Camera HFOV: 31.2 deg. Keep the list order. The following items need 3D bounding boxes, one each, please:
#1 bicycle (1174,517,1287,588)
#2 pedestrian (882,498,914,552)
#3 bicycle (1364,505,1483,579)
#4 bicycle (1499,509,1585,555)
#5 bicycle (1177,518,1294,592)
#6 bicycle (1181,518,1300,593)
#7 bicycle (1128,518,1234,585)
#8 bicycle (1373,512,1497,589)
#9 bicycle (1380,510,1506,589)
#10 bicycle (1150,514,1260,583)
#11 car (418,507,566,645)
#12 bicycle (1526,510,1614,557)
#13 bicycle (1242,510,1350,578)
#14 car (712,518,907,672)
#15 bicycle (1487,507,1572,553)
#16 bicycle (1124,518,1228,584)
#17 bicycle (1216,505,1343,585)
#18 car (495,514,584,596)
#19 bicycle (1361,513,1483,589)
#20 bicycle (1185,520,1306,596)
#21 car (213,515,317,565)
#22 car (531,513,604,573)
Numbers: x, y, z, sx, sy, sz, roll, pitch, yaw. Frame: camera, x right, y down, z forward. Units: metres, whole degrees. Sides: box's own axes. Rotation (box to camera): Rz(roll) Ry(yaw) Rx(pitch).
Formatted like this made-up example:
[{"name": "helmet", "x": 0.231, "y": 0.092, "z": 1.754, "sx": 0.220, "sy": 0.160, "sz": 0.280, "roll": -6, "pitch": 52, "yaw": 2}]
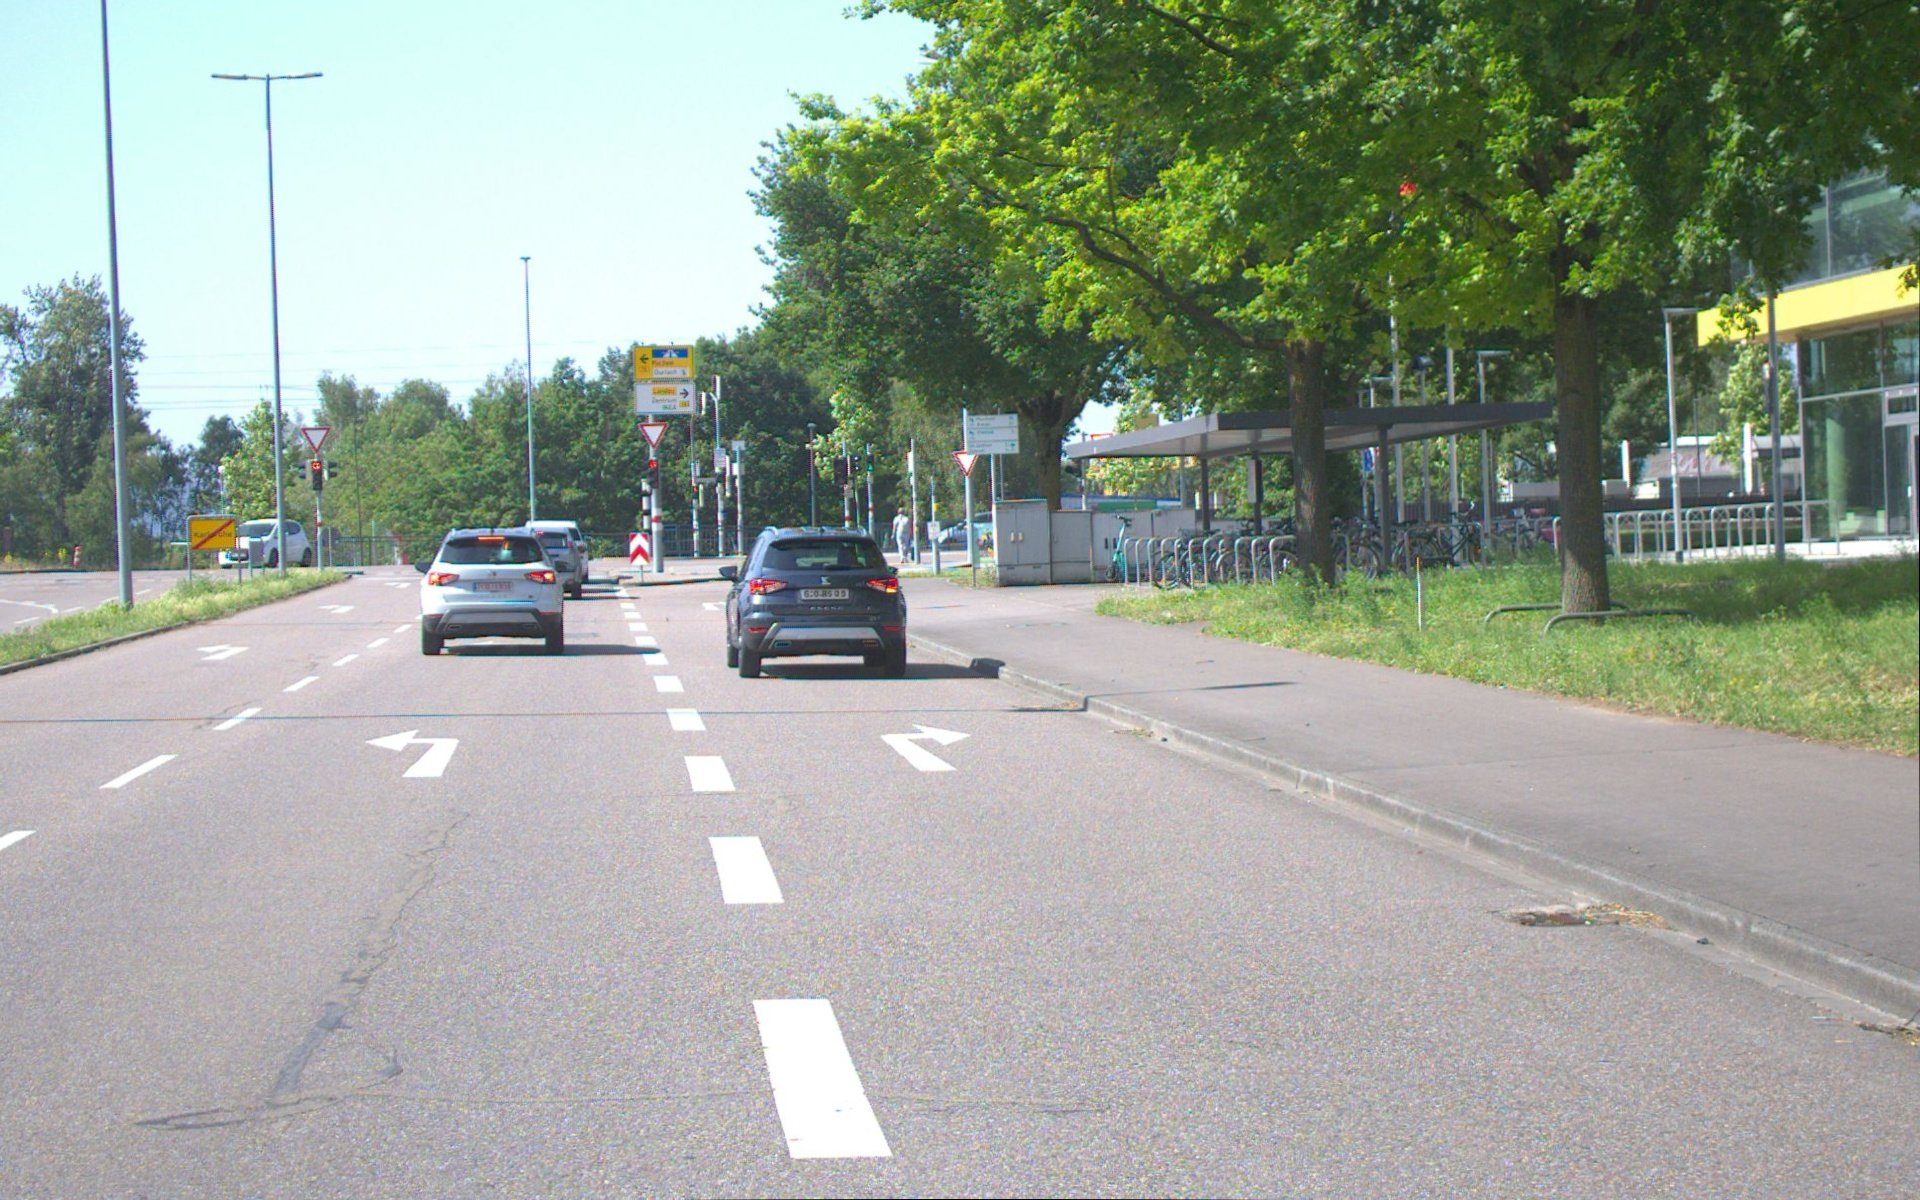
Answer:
[{"name": "bicycle", "x": 4.436, "y": -0.779, "z": 56.364, "sx": 1.758, "sy": 1.092, "sz": 0.452, "roll": -2, "pitch": 2, "yaw": -6}, {"name": "pedestrian", "x": -1.778, "y": -2.179, "z": 99.300, "sx": 0.773, "sy": 1.505, "sz": 1.007, "roll": -2, "pitch": 3, "yaw": 5}, {"name": "bicycle", "x": 7.286, "y": -0.919, "z": 54.027, "sx": 1.758, "sy": 1.092, "sz": 0.452, "roll": -2, "pitch": 2, "yaw": -6}, {"name": "bicycle", "x": 11.279, "y": -1.321, "z": 66.604, "sx": 1.561, "sy": 0.840, "sz": 0.434, "roll": -2, "pitch": 1, "yaw": -2}, {"name": "bicycle", "x": 4.346, "y": -0.715, "z": 54.231, "sx": 1.758, "sy": 1.092, "sz": 0.452, "roll": -2, "pitch": 2, "yaw": -6}, {"name": "bicycle", "x": 4.373, "y": -0.696, "z": 53.660, "sx": 1.758, "sy": 1.092, "sz": 0.452, "roll": -2, "pitch": 2, "yaw": -6}, {"name": "bicycle", "x": 3.856, "y": -0.852, "z": 60.061, "sx": 1.758, "sy": 1.092, "sz": 0.452, "roll": -2, "pitch": 2, "yaw": -6}, {"name": "bicycle", "x": 7.172, "y": -0.746, "z": 51.910, "sx": 1.758, "sy": 1.092, "sz": 0.452, "roll": -2, "pitch": 2, "yaw": -6}, {"name": "bicycle", "x": 7.137, "y": -0.747, "z": 50.799, "sx": 1.758, "sy": 1.092, "sz": 0.452, "roll": -2, "pitch": 2, "yaw": -6}, {"name": "bicycle", "x": 4.112, "y": -0.868, "z": 57.815, "sx": 1.758, "sy": 1.092, "sz": 0.452, "roll": -2, "pitch": 2, "yaw": -6}, {"name": "car", "x": -5.773, "y": -0.341, "z": 42.728, "sx": 1.630, "sy": 1.493, "sz": 3.871, "roll": -1, "pitch": 3, "yaw": -5}, {"name": "bicycle", "x": 11.528, "y": -1.266, "z": 64.962, "sx": 1.561, "sy": 0.840, "sz": 0.434, "roll": -2, "pitch": 1, "yaw": -4}, {"name": "bicycle", "x": 5.759, "y": -0.960, "z": 58.904, "sx": 1.758, "sy": 1.092, "sz": 0.452, "roll": -2, "pitch": 2, "yaw": -6}, {"name": "car", "x": -1.620, "y": -0.092, "z": 36.100, "sx": 1.669, "sy": 1.518, "sz": 3.378, "roll": -1, "pitch": 1, "yaw": -9}, {"name": "bicycle", "x": 11.174, "y": -1.373, "z": 67.462, "sx": 1.561, "sy": 0.840, "sz": 0.434, "roll": -2, "pitch": 1, "yaw": -5}, {"name": "bicycle", "x": 3.830, "y": -0.874, "z": 61.064, "sx": 1.758, "sy": 1.092, "sz": 0.452, "roll": -2, "pitch": 2, "yaw": -6}, {"name": "bicycle", "x": 4.696, "y": -0.812, "z": 50.544, "sx": 1.758, "sy": 1.092, "sz": 0.452, "roll": -3, "pitch": 1, "yaw": -6}, {"name": "car", "x": -8.668, "y": -0.955, "z": 70.756, "sx": 1.706, "sy": 1.567, "sz": 4.175, "roll": -3, "pitch": 2, "yaw": -7}, {"name": "bicycle", "x": 7.092, "y": -0.752, "z": 52.797, "sx": 1.758, "sy": 1.092, "sz": 0.452, "roll": -2, "pitch": 2, "yaw": -6}, {"name": "bicycle", "x": 4.376, "y": -0.653, "z": 52.768, "sx": 1.758, "sy": 1.092, "sz": 0.452, "roll": -2, "pitch": 2, "yaw": -6}, {"name": "car", "x": -22.429, "y": -1.937, "z": 111.127, "sx": 1.795, "sy": 1.541, "sz": 4.085, "roll": -1, "pitch": 1, "yaw": 12}, {"name": "car", "x": -9.773, "y": -1.441, "z": 85.810, "sx": 1.741, "sy": 1.443, "sz": 4.390, "roll": -1, "pitch": 2, "yaw": -6}]
